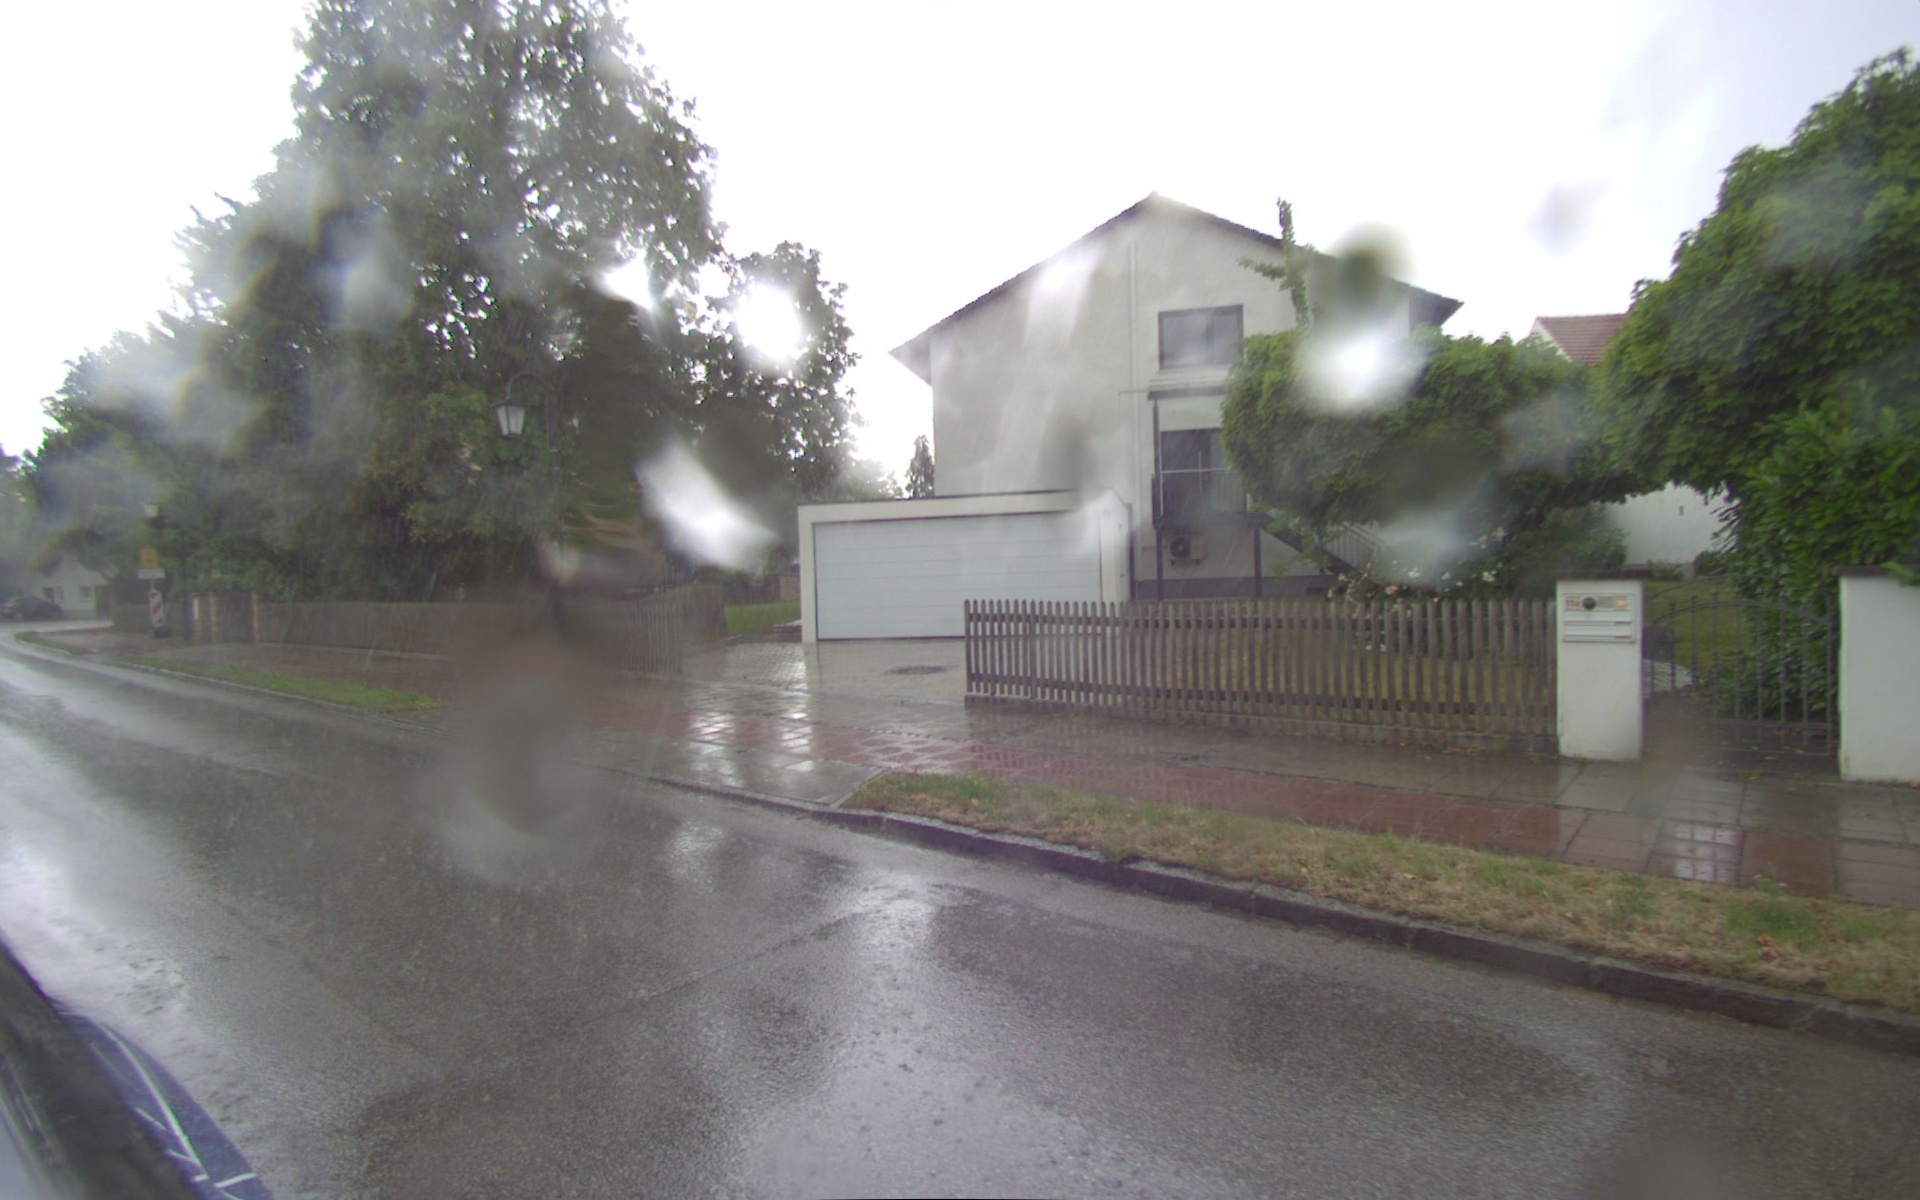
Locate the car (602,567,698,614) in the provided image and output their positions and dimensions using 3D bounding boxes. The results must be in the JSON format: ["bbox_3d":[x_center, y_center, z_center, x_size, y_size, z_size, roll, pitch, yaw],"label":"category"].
[{"bbox_3d":[-13.864,-0.446,45.376,3.614,1.815,1.839,-3,2,8],"label":"car"}]

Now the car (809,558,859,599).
[{"bbox_3d":[-7.320,-1.222,58.969,1.768,2.311,3.838,-1,0,11],"label":"car"}]

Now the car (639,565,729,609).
[{"bbox_3d":[-13.131,-0.618,48.195,3.614,1.815,1.839,-3,2,8],"label":"car"}]
